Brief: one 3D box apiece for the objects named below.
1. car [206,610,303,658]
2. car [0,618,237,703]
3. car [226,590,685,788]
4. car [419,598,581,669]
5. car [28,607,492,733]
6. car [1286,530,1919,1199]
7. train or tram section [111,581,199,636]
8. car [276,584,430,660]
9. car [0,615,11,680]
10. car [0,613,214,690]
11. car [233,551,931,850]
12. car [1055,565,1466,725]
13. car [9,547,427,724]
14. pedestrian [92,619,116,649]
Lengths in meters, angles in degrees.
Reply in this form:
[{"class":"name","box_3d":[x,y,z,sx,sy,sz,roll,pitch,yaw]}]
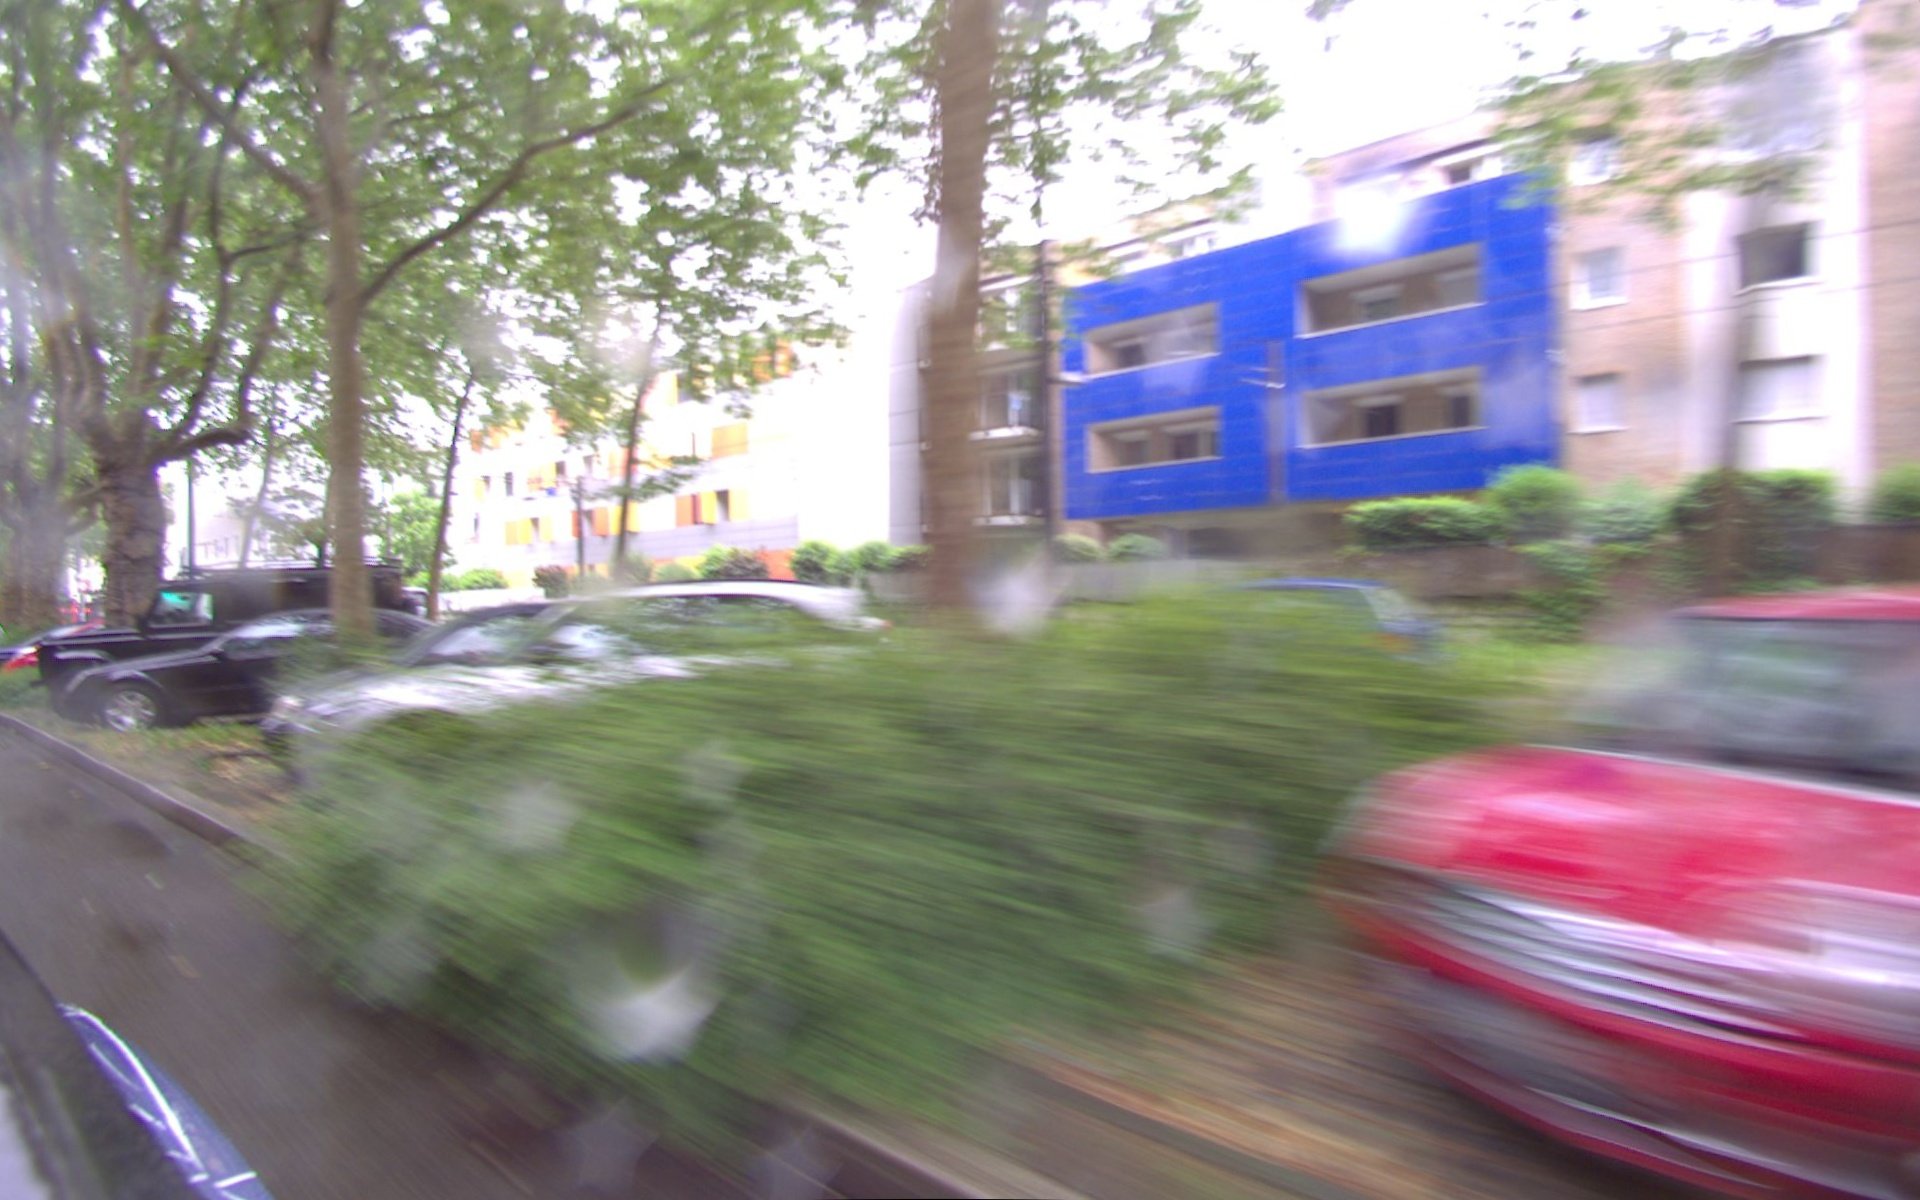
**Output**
[{"class":"car","box_3d":[-26.066,1.256,37.321,4.465,1.612,1.884,-2,0,41]},{"class":"car","box_3d":[-16.032,1.102,19.205,3.442,1.447,1.787,-1,-1,-22]},{"class":"car","box_3d":[-4.453,0.673,9.191,3.451,1.479,1.647,-1,-1,-31]},{"class":"car","box_3d":[-11.185,0.798,24.503,4.211,1.545,1.885,-2,0,39]},{"class":"car","box_3d":[-8.551,0.801,12.924,4.579,1.336,1.853,-1,-1,-22]},{"class":"car","box_3d":[3.008,0.582,2.843,3.591,1.490,1.749,-2,0,-19]},{"class":"train or tram section","box_3d":[-58.178,0.659,72.985,11.546,3.669,2.870,-1,1,41]},{"class":"car","box_3d":[-18.241,0.661,30.308,5.425,2.012,2.035,-2,1,37]},{"class":"car","box_3d":[-24.870,1.206,24.936,4.205,1.526,1.712,-2,1,41]},{"class":"car","box_3d":[-17.964,1.025,20.765,3.976,1.445,1.787,-1,-1,-24]},{"class":"car","box_3d":[-2.425,0.516,7.082,3.995,1.549,1.841,-2,0,-24]},{"class":"car","box_3d":[3.407,0.472,11.899,4.211,1.545,1.885,-2,0,39]},{"class":"car","box_3d":[-10.563,0.446,14.892,4.580,2.300,2.018,-1,-1,-20]},{"class":"pedestrian","box_3d":[-52.113,2.071,61.620,1.205,1.813,0.926,-1,0,40]}]
